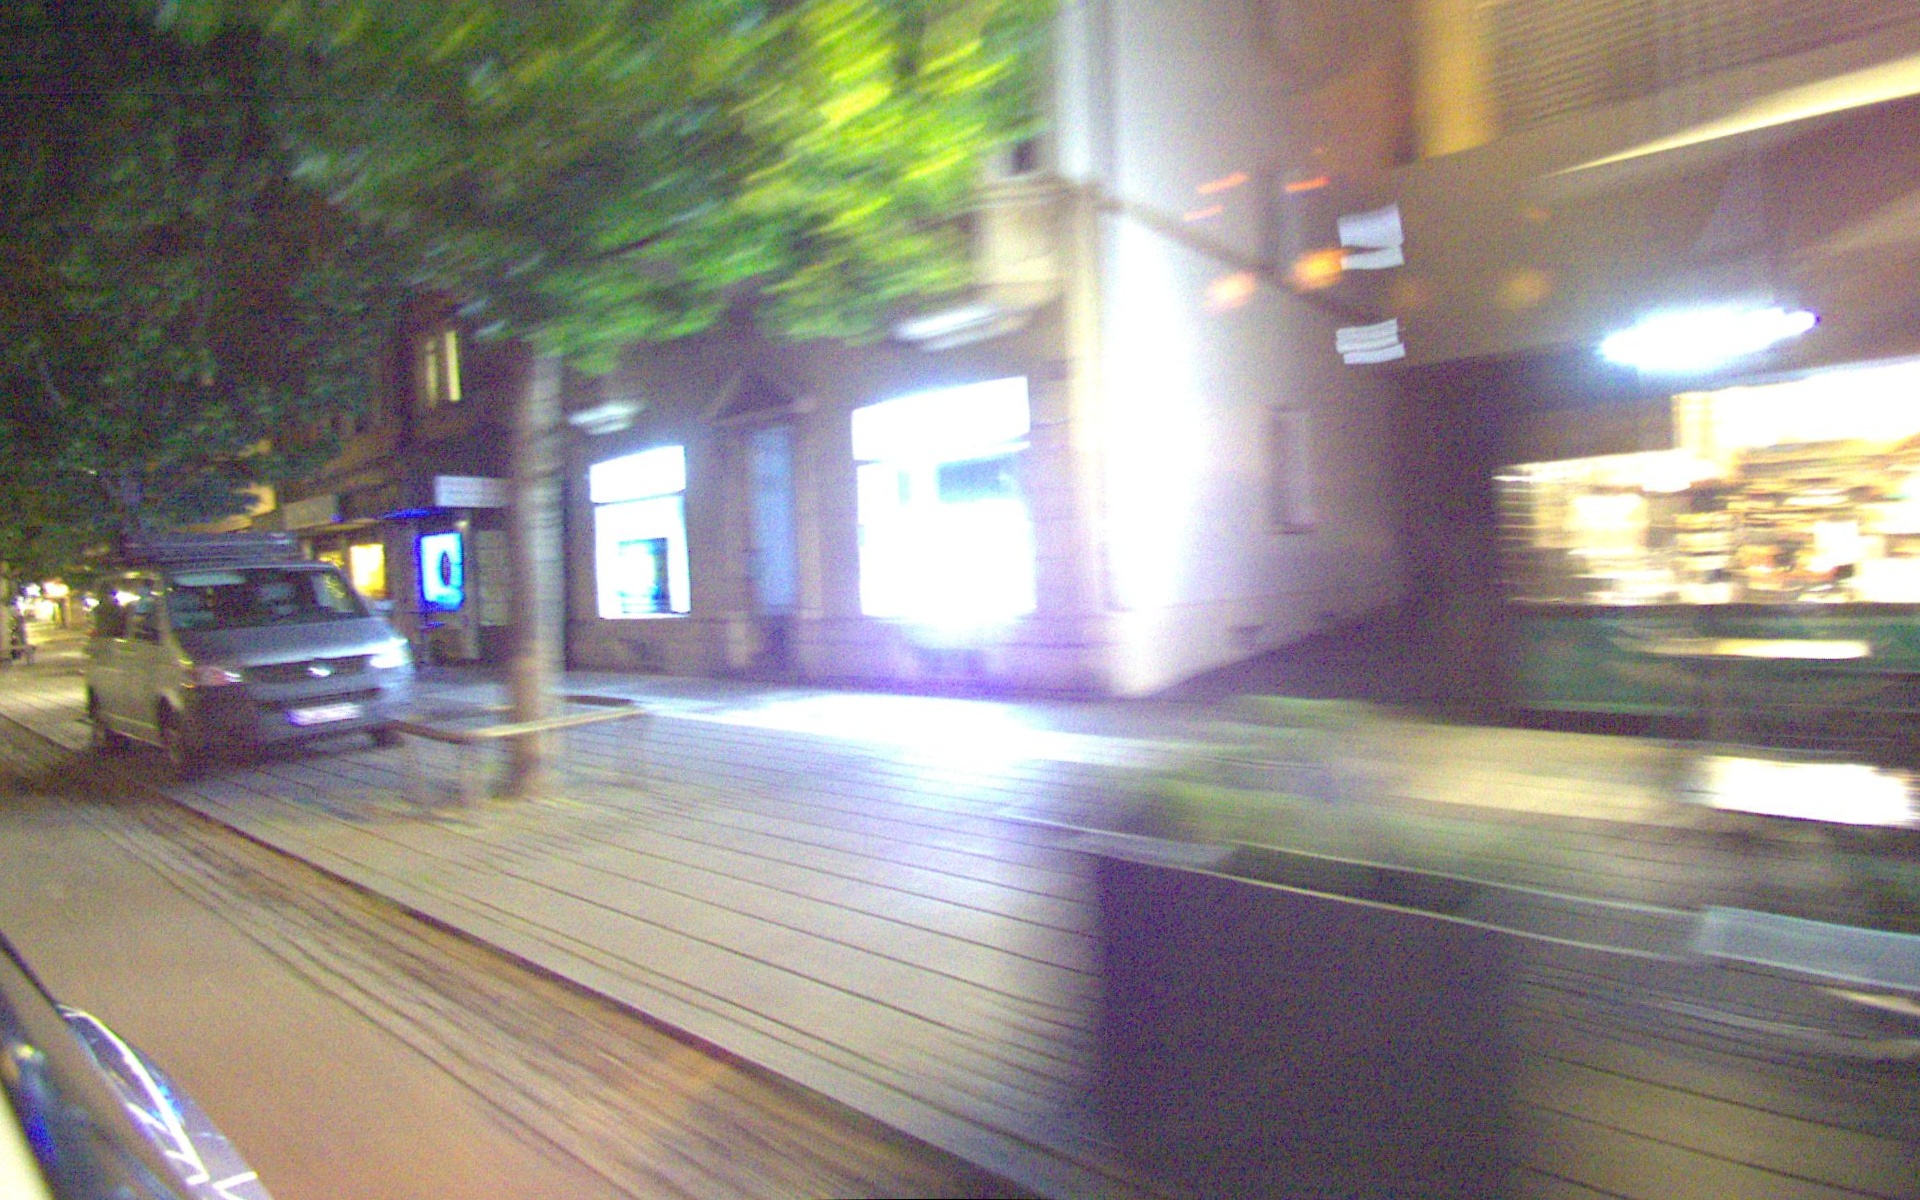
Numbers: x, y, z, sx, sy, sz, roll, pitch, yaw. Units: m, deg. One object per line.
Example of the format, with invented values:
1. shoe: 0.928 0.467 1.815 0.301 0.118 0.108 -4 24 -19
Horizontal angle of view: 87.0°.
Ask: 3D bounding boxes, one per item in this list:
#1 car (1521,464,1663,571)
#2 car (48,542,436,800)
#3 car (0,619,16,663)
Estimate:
1. car: 13.837 -1.711 22.074 1.999 2.029 3.946 -1 1 41
2. car: -7.436 0.566 10.243 5.073 1.979 1.906 -2 3 40
3. car: -35.050 1.493 35.954 3.998 1.516 1.773 -2 2 41
